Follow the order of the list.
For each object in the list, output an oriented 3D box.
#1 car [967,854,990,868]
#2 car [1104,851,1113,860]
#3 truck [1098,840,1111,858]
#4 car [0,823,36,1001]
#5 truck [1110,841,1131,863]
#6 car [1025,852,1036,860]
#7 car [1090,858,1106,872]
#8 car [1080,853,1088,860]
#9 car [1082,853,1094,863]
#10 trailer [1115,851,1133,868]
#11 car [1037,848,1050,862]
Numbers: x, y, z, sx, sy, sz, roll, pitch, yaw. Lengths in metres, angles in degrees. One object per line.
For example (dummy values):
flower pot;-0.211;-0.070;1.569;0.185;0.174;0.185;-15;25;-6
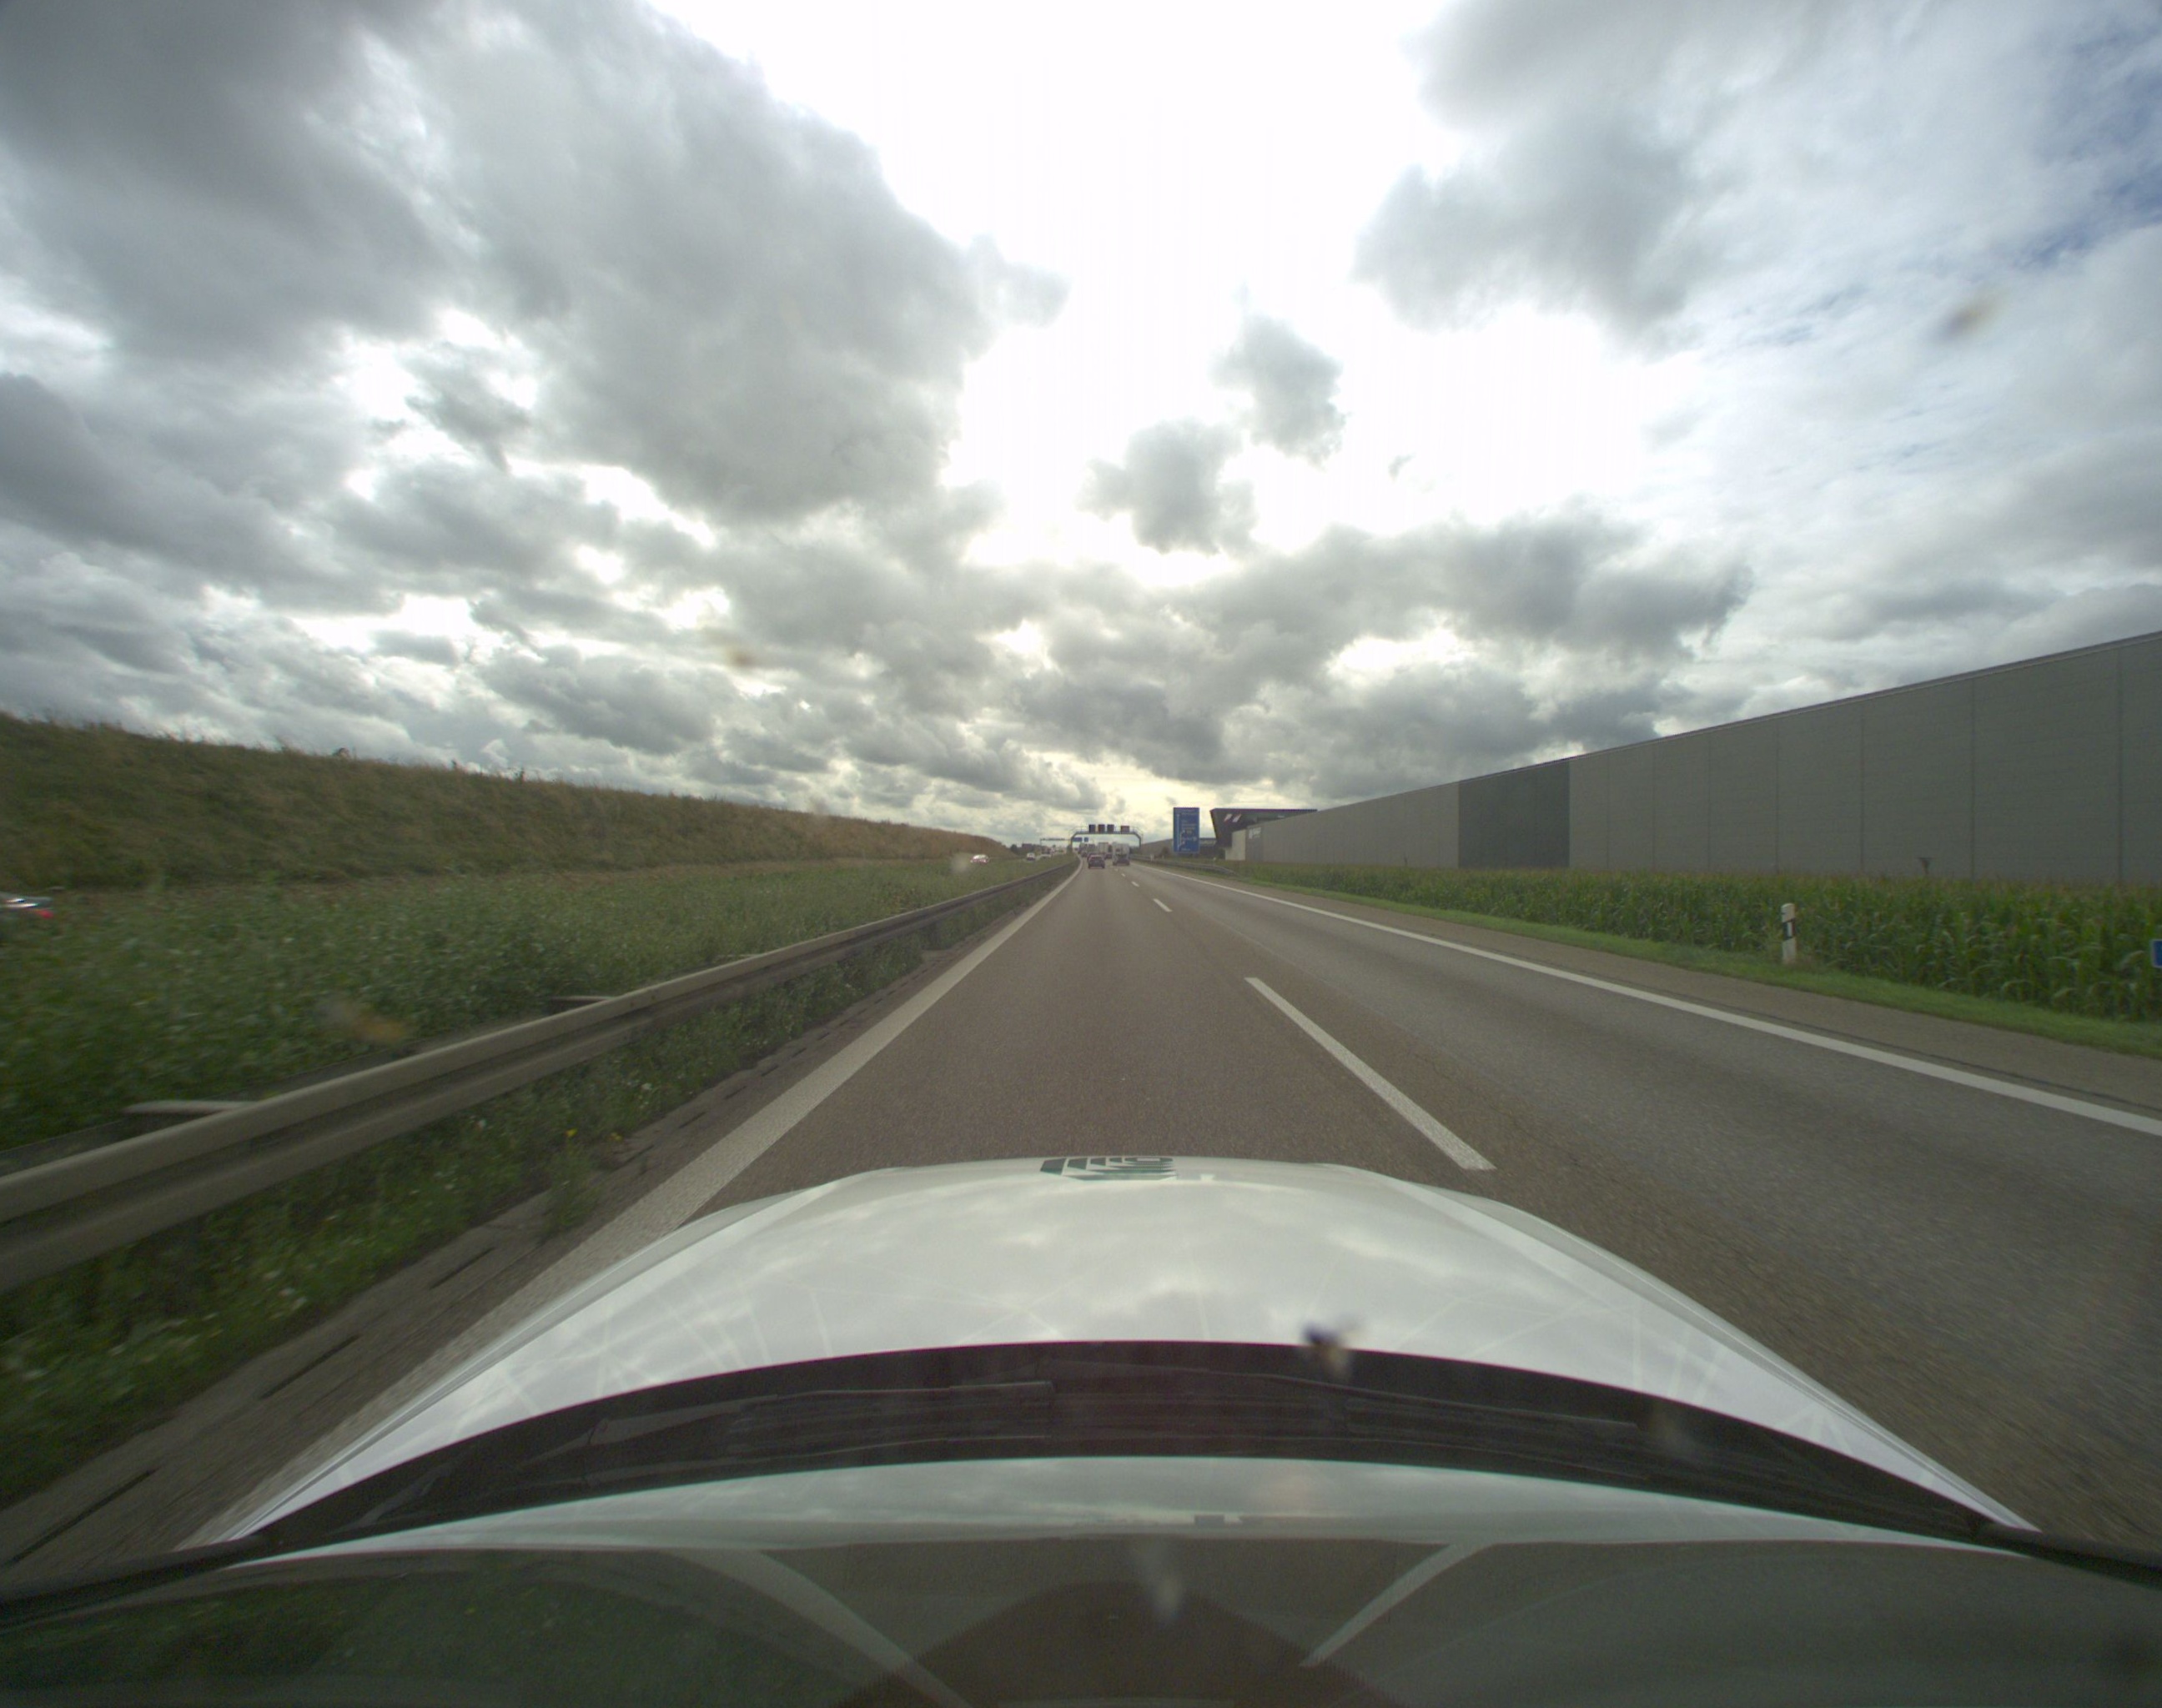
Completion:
car;-10.563;0.763;84.485;1.718;1.403;4.343;0;0;1
car;5.634;0.324;169.173;1.794;1.685;4.001;0;0;1
truck;6.135;-1.252;214.247;3.329;4.534;8.014;0;-1;0
car;-11.268;0.542;6.027;1.809;1.702;4.002;0;0;2
truck;5.348;-0.221;111.229;2.474;2.950;5.813;0;0;0
car;-9.489;0.336;154.353;1.766;1.454;4.001;0;0;1
car;1.870;1.162;88.136;1.740;1.453;4.002;0;0;2
car;0.823;0.735;216.160;1.936;1.775;3.697;0;0;1
car;1.153;0.605;139.058;1.938;1.685;4.002;0;0;2
trailer;5.489;0.648;104.420;2.329;2.136;4.001;0;0;2
car;-6.529;0.227;141.308;1.987;2.348;5.870;0;0;0
